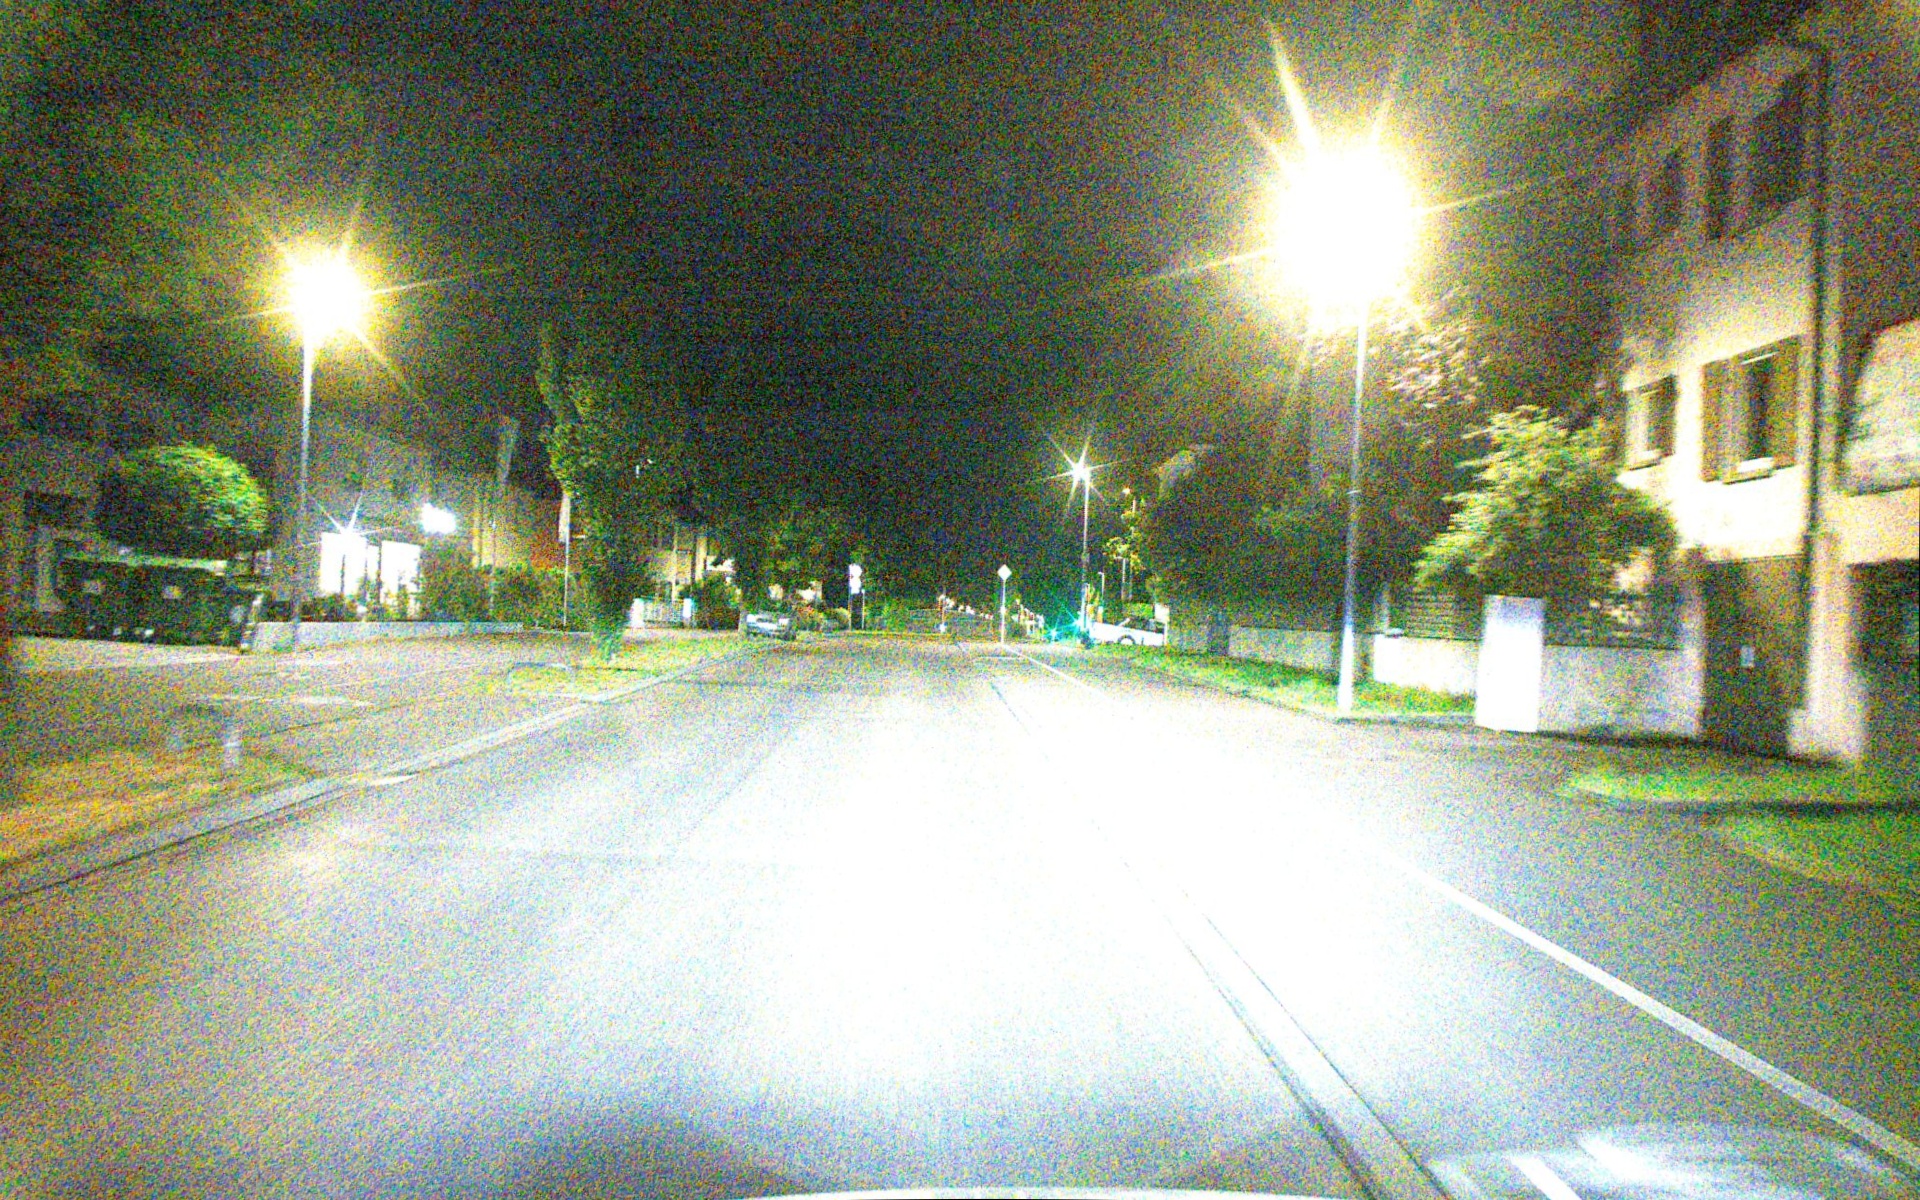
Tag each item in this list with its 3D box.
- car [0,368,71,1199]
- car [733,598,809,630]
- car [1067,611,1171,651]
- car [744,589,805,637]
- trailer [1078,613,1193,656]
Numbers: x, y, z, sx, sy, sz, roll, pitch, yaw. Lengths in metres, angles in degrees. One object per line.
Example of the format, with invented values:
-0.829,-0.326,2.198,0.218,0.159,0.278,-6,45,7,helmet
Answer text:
-2.401,0.520,0.315,1.962,1.778,4.558,2,0,0,car
-10.294,0.764,90.115,3.635,1.655,1.783,1,-1,18,car
5.412,1.043,56.616,3.324,1.253,1.723,2,0,-3,car
-6.668,0.460,59.782,1.638,1.618,3.987,3,0,1,car
5.552,1.088,52.621,3.363,1.019,1.954,5,0,-2,trailer
